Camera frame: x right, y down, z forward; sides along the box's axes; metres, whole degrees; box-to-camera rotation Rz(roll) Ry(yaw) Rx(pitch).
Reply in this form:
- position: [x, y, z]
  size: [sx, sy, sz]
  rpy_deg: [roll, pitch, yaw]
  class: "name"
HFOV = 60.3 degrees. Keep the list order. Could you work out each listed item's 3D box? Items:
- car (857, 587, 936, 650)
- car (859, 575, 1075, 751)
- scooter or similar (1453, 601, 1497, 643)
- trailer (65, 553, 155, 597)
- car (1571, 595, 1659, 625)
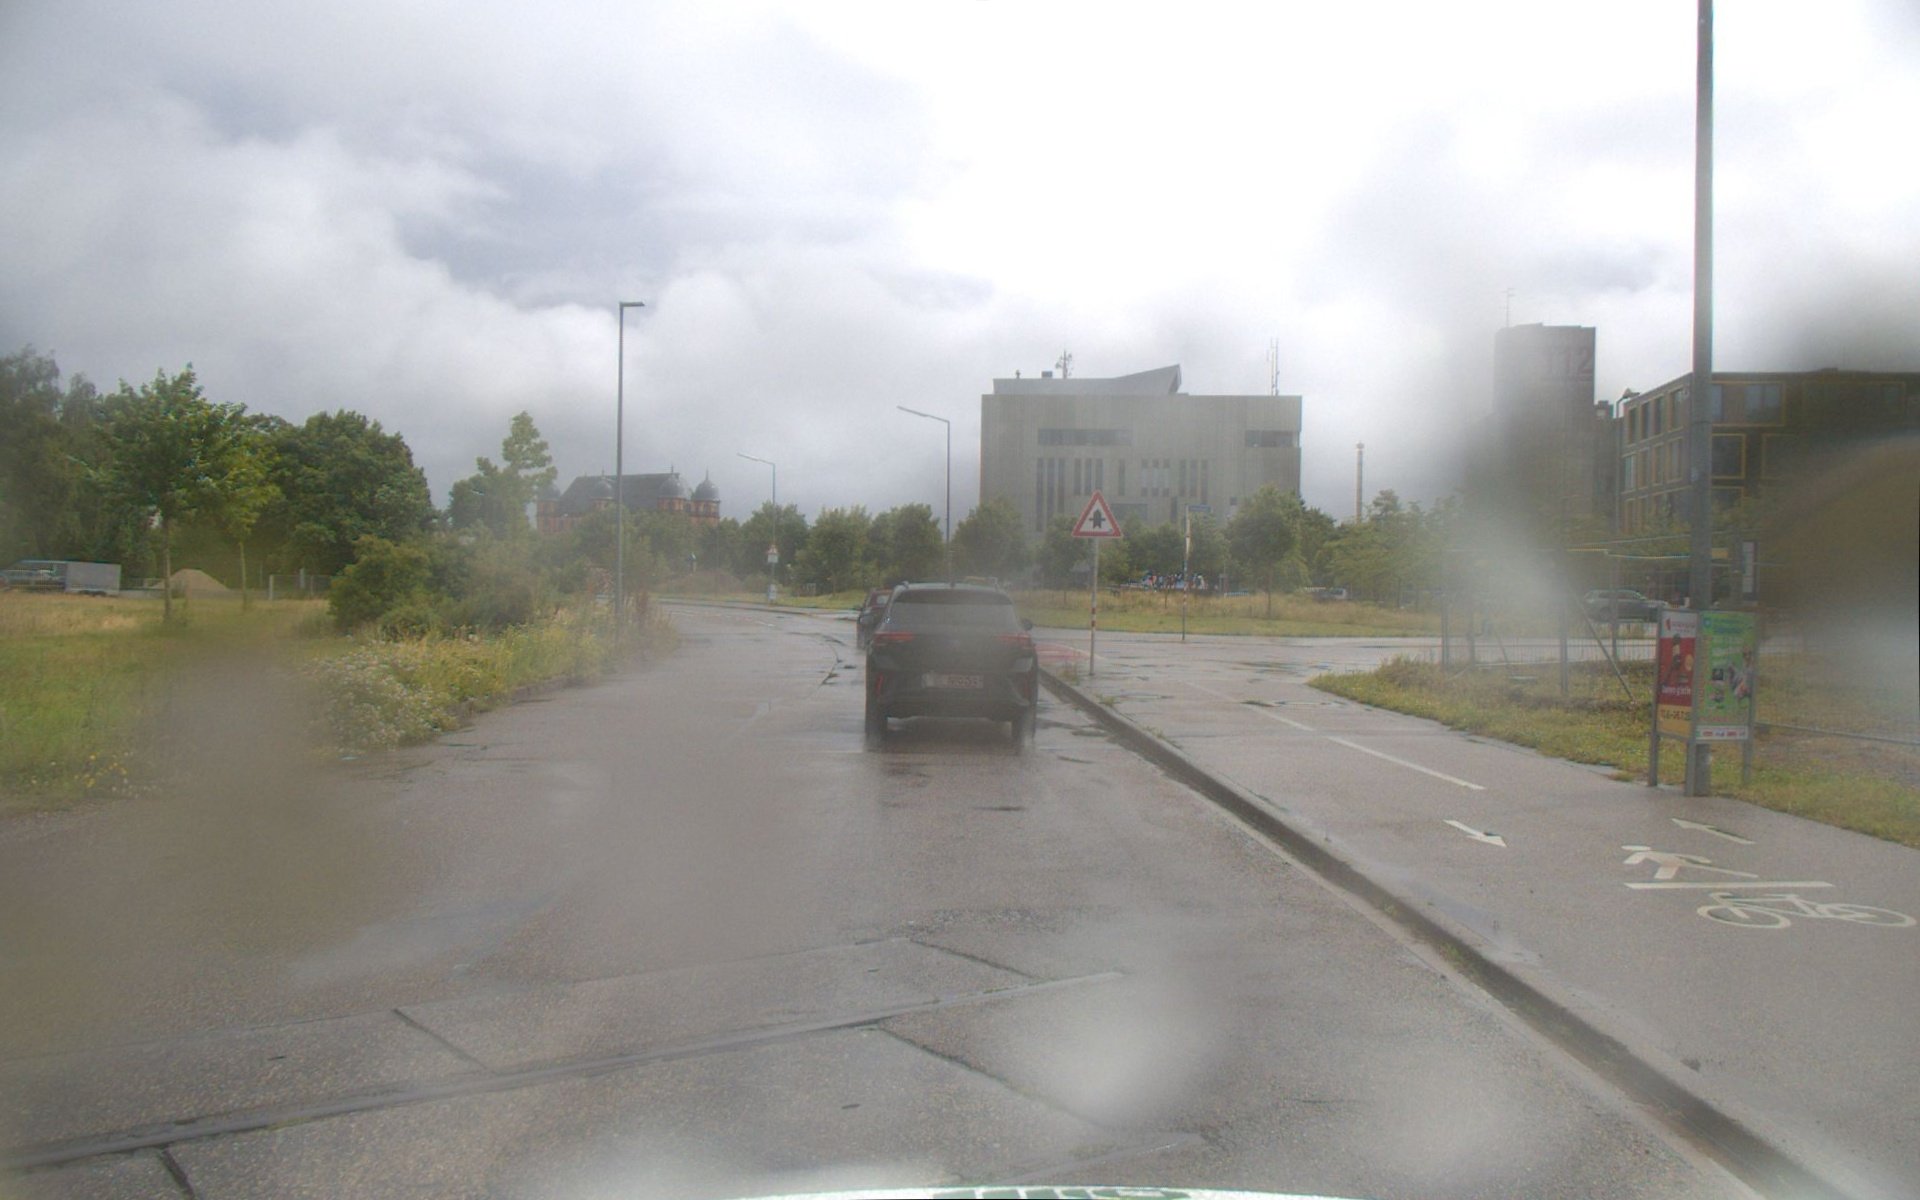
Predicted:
- position: [-1.675, 0.432, 42.235]
  size: [1.805, 1.467, 3.996]
  rpy_deg: [-2, 1, -5]
  class: "car"
- position: [-0.051, 0.571, 17.830]
  size: [1.948, 1.546, 3.997]
  rpy_deg: [-3, 1, -4]
  class: "car"
- position: [15.737, 0.663, 50.555]
  size: [1.262, 1.207, 0.500]
  rpy_deg: [-1, 2, -22]
  class: "scooter or similar"
- position: [-44.987, -1.323, 87.554]
  size: [4.063, 2.126, 1.823]
  rpy_deg: [2, -1, -34]
  class: "trailer"
- position: [34.872, 0.524, 88.163]
  size: [4.115, 1.585, 1.668]
  rpy_deg: [0, 0, 11]
  class: "car"
